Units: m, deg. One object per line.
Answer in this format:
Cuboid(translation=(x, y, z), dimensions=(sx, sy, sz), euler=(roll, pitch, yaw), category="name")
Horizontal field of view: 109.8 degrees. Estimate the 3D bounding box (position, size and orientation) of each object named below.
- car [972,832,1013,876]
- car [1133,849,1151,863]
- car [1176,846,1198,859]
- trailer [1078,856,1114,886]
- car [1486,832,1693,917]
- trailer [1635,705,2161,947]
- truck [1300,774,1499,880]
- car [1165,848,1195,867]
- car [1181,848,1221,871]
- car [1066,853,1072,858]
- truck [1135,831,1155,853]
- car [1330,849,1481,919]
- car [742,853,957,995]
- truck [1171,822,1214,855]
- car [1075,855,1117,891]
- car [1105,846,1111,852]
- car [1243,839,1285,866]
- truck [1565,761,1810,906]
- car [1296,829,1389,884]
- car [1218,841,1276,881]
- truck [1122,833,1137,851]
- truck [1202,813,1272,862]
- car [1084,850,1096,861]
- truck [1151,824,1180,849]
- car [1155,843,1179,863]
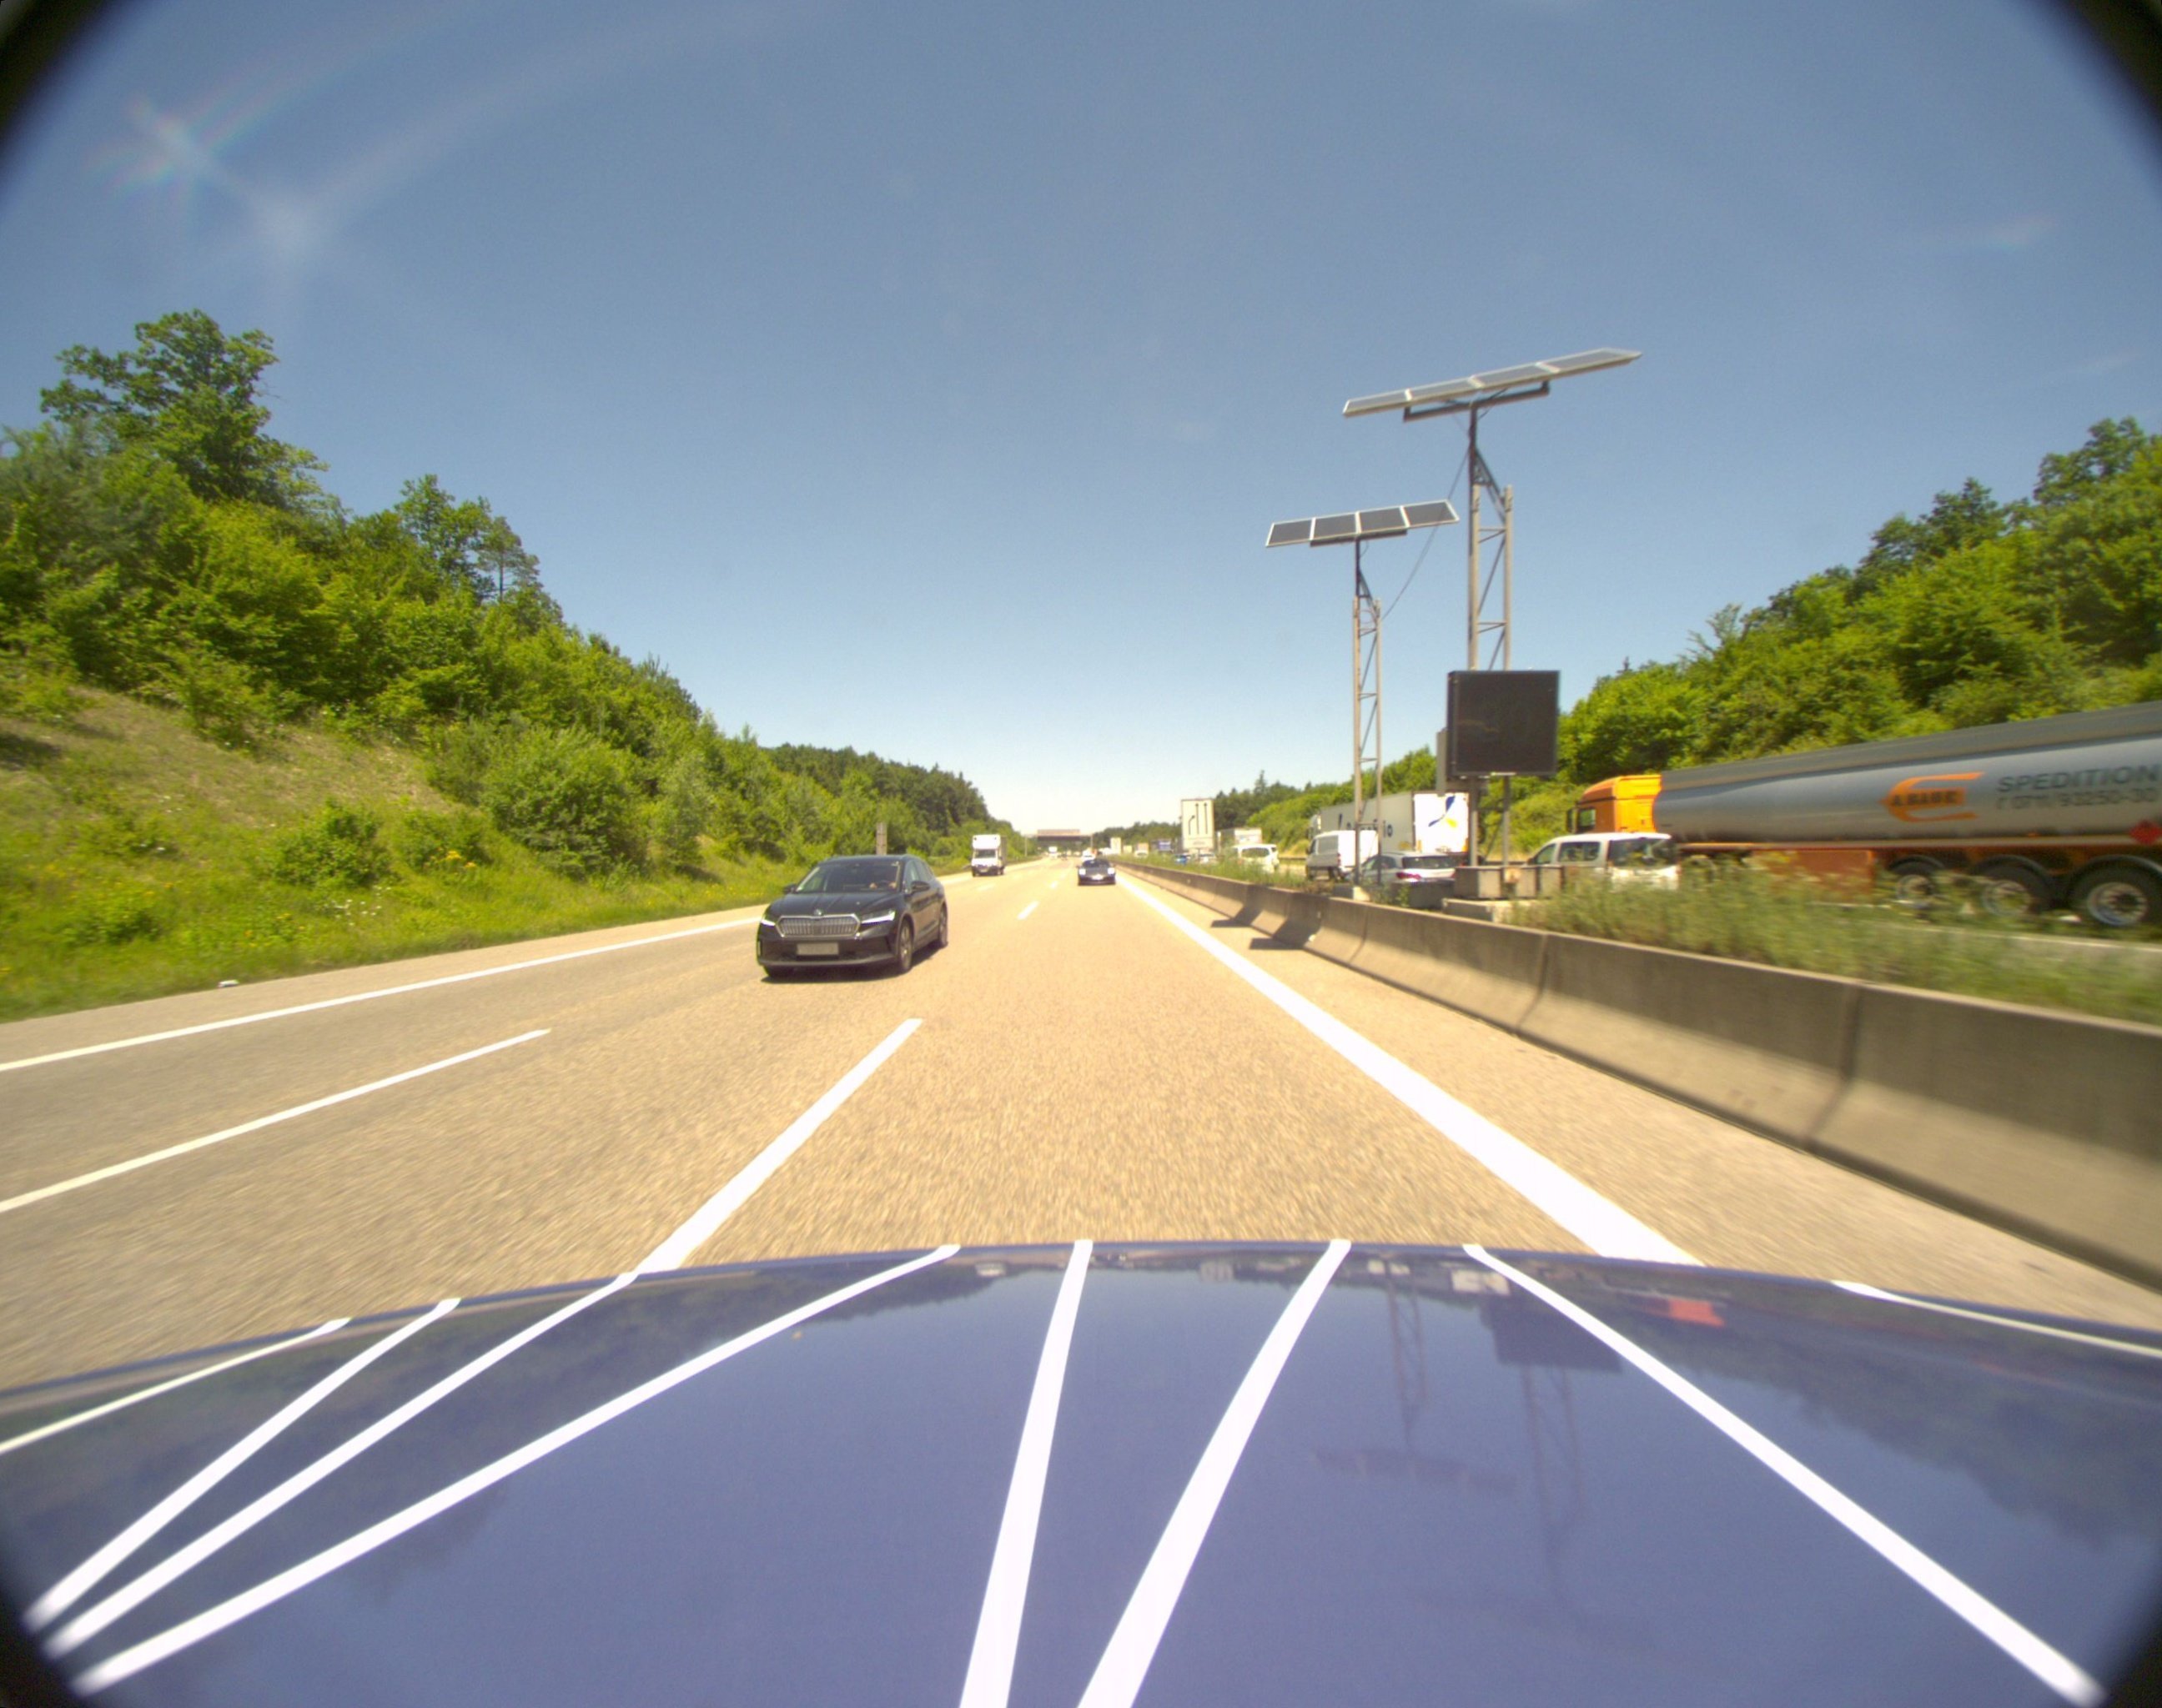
Cuboid(translation=(-7.176, -0.079, 62.549), dimensions=(2.303, 3.317, 7.621), euler=(-2, 1, 0), category="car")
Cuboid(translation=(8.748, 0.241, 109.318), dimensions=(1.986, 1.834, 5.019), euler=(-2, 1, 0), category="car")
Cuboid(translation=(12.217, -0.187, 87.937), dimensions=(1.837, 1.462, 4.034), euler=(-2, 1, -1), category="car")
Cuboid(translation=(0.803, 0.822, 37.953), dimensions=(1.689, 1.399, 3.046), euler=(-1, 0, 3), category="trailer")
Cuboid(translation=(12.220, 0.403, 18.729), dimensions=(1.832, 1.753, 4.758), euler=(-2, 1, -1), category="car")
Cuboid(translation=(15.966, -0.428, 14.327), dimensions=(2.584, 3.274, 11.696), euler=(-2, 0, 1), category="trailer")
Cuboid(translation=(16.301, -1.325, 41.610), dimensions=(3.705, 4.431, 17.378), euler=(-2, 1, 1), category="truck")
Cuboid(translation=(8.631, 0.279, 66.742), dimensions=(1.831, 1.469, 4.970), euler=(-2, 1, -1), category="car")
Cuboid(translation=(8.497, 0.358, 54.232), dimensions=(1.831, 1.469, 5.397), euler=(-2, 1, -1), category="car")
Cuboid(translation=(-3.603, 0.483, 221.458), dimensions=(1.719, 1.432, 4.015), euler=(-2, 1, -1), category="car")
Cuboid(translation=(16.723, -3.111, 200.880), dimensions=(3.705, 5.470, 19.448), euler=(-2, 1, 1), category="truck")
Cuboid(translation=(8.283, 0.679, 19.916), dimensions=(1.832, 1.488, 4.758), euler=(-2, 1, -1), category="car")
Cuboid(translation=(-3.207, 0.856, 11.572), dimensions=(1.990, 1.610, 4.455), euler=(-2, 1, -2), category="car")
Cuboid(translation=(16.692, -2.354, 115.714), dimensions=(3.705, 4.431, 19.448), euler=(-2, 1, 1), category="truck")
Cuboid(translation=(0.753, 0.817, 34.610), dimensions=(1.718, 1.431, 4.458), euler=(-3, 0, 3), category="car")
Cuboid(translation=(7.527, -1.386, 211.103), dimensions=(1.674, 1.746, 4.248), euler=(-2, 1, 0), category="car")
Cuboid(translation=(14.212, -0.139, 59.465), dimensions=(2.189, 1.930, 5.886), euler=(-2, 1, 4), category="car")
Cuboid(translation=(16.032, -0.470, 20.607), dimensions=(2.499, 3.345, 5.186), euler=(-2, 0, 1), category="truck")
Cuboid(translation=(12.403, 0.056, 36.632), dimensions=(2.190, 2.371, 6.539), euler=(-2, 1, 0), category="car")
Cuboid(translation=(8.812, 0.305, 40.856), dimensions=(1.831, 1.966, 5.664), euler=(-2, 1, 0), category="car")
Cuboid(translation=(15.487, -3.863, 246.228), dimensions=(3.705, 5.470, 19.448), euler=(-2, 1, 1), category="truck")
Cuboid(translation=(16.348, -1.744, 81.717), dimensions=(3.705, 4.431, 19.448), euler=(-2, 1, 1), category="truck")
Cuboid(translation=(1.244, 0.181, 105.985), dimensions=(1.718, 1.432, 4.456), euler=(-1, 1, 1), category="car")
Cuboid(translation=(16.827, -3.458, 152.788), dimensions=(3.705, 4.431, 19.448), euler=(-2, 1, 1), category="truck")
Cuboid(translation=(8.861, -0.164, 78.860), dimensions=(1.831, 1.905, 4.970), euler=(-2, 1, -1), category="car")
